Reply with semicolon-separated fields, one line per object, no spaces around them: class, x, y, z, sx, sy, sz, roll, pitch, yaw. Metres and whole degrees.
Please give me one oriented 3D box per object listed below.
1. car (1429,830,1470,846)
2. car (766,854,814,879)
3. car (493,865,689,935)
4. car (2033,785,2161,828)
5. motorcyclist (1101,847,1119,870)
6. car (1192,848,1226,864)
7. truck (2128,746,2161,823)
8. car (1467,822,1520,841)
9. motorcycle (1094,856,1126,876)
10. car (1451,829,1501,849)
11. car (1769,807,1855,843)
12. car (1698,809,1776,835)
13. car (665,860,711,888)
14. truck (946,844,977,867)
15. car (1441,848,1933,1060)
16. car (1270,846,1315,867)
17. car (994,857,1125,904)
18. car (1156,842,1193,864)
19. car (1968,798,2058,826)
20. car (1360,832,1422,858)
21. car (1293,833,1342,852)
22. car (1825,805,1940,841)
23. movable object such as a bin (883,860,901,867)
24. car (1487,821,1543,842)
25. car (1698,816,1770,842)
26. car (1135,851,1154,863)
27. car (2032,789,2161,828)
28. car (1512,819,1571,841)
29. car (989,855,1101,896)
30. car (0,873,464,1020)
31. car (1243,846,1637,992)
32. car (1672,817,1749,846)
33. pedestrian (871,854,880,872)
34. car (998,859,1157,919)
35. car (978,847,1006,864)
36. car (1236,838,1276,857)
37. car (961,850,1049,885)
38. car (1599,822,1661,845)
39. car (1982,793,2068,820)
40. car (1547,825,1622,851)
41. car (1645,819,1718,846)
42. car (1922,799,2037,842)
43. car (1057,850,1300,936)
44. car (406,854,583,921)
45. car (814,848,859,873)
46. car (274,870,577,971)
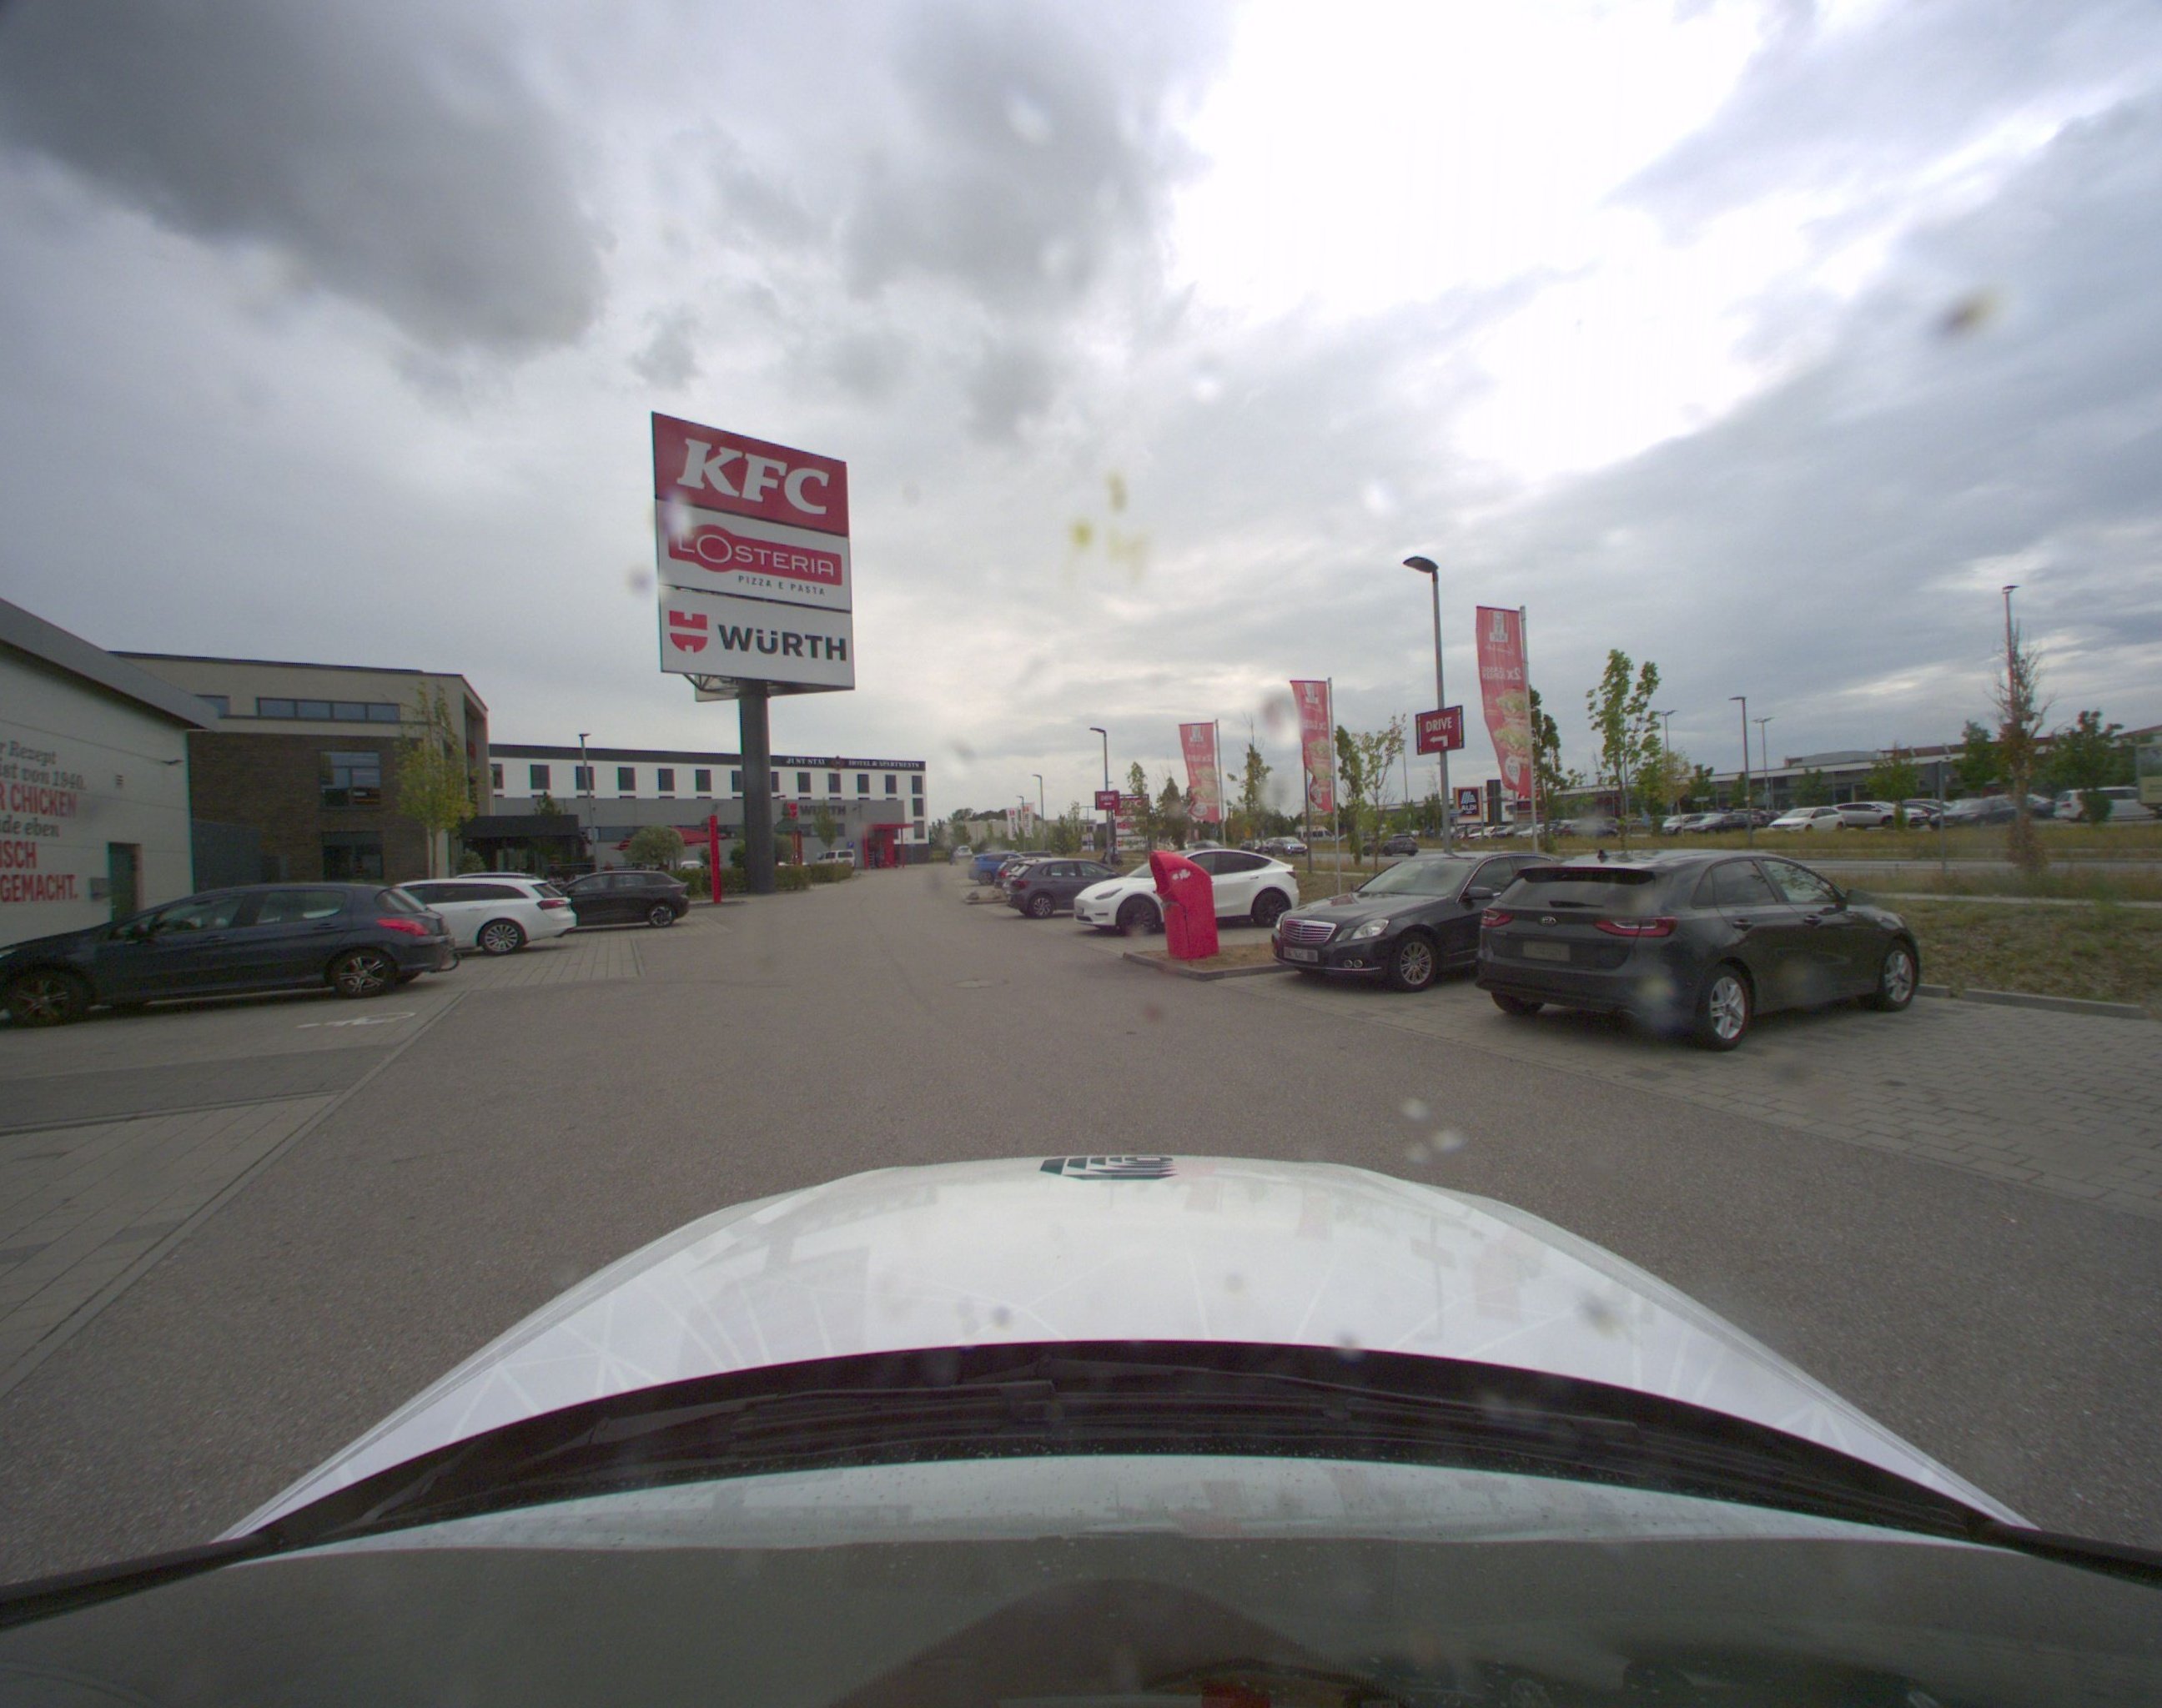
car;45.819;-1.984;101.285;2.006;1.837;4.146;-4;1;-30
car;-21.106;0.944;58.985;2.009;1.650;4.528;-4;1;-35
car;-12.396;1.098;20.861;4.135;1.528;1.725;-1;-1;-30
car;49.986;-2.311;39.944;3.949;1.771;2.013;-3;1;41
motorcyclist;1.914;0.284;53.489;0.939;1.489;0.827;-2;0;-13
car;12.423;0.197;79.265;1.765;1.394;4.198;-2;0;-14
truck;45.715;-2.896;30.510;3.001;3.195;8.457;-3;1;10
car;37.256;-2.030;73.557;4.067;1.501;1.855;-4;1;-15
motorcycle;1.928;0.812;53.492;1.917;1.208;0.791;-3;0;-13
car;36.939;-1.409;76.205;4.054;1.539;1.896;-4;1;-19
car;41.224;-1.634;45.923;4.327;1.771;1.984;-4;1;-24
car;47.329;-2.291;58.796;4.141;1.539;1.996;-4;1;-6
car;-26.478;1.337;54.781;2.009;1.650;4.528;-4;1;-35
truck;-14.574;0.233;98.805;2.338;2.407;7.846;-1;-3;-18
car;5.399;0.670;7.225;4.079;1.412;1.872;0;0;-27
car;15.975;0.179;61.608;1.823;1.459;3.989;-4;1;-8
car;-0.718;0.807;26.158;3.932;1.412;1.831;0;0;-15
car;9.266;-0.151;81.309;1.995;2.086;5.209;-3;1;-12
car;71.525;-3.197;62.561;2.004;1.837;4.152;-4;1;-25
car;20.458;-0.601;53.993;1.794;1.552;4.844;-4;1;-6
car;30.450;-1.450;105.064;5.578;2.121;2.333;-4;1;-10
car;45.798;-1.727;46.652;1.920;1.771;4.296;-4;1;-17
movable object such as a bin;-19.091;0.957;82.222;1.499;0.704;0.955;-1;-1;-33
car;37.407;-1.967;70.191;4.054;1.539;1.988;-4;1;-19
car;53.405;-2.026;66.678;2.004;1.837;4.152;-4;1;-25
car;7.138;0.339;91.257;1.461;1.336;3.154;-2;1;-8
car;56.404;-2.495;45.239;2.005;1.771;4.282;-4;1;-28
car;38.044;-1.970;67.304;4.054;1.539;1.988;-4;1;-19
car;-1.388;0.770;30.795;3.989;1.428;1.721;-1;0;-12
car;-10.505;1.035;10.405;3.951;1.487;1.742;0;0;-29
car;4.504;0.664;10.087;4.753;1.456;1.894;0;-2;-28
car;39.824;-1.396;51.554;4.050;1.539;1.763;-4;1;-16
pedestrian;-20.971;0.877;83.146;0.681;1.802;0.871;-2;0;-33
car;-0.109;0.850;21.120;3.804;1.412;1.729;0;0;-17
car;-9.101;0.125;83.283;1.863;1.650;3.971;-1;-1;-21
car;14.901;-0.563;69.592;1.851;1.499;4.269;-2;0;-10
car;-3.801;0.641;40.314;4.201;1.544;1.859;-2;0;-10
car;49.408;-1.854;73.353;2.004;1.837;4.152;-4;1;-25
car;75.834;-3.809;65.481;2.004;1.837;4.152;-4;1;-25
car;35.722;-1.145;57.785;4.141;1.539;1.996;-4;1;-6
car;39.767;-1.423;53.926;4.050;1.539;1.763;-4;1;-16
car;42.801;-1.583;38.811;4.316;1.771;1.921;-4;1;-16
car;1.960;0.714;16.513;4.546;1.541;1.913;0;0;-20
car;-17.196;0.949;24.151;4.012;1.596;1.720;-4;1;-30
car;-21.796;0.607;72.448;2.074;1.854;4.011;-9;4;-44
car;-12.203;1.157;15.601;4.192;1.486;1.981;-2;1;-29
